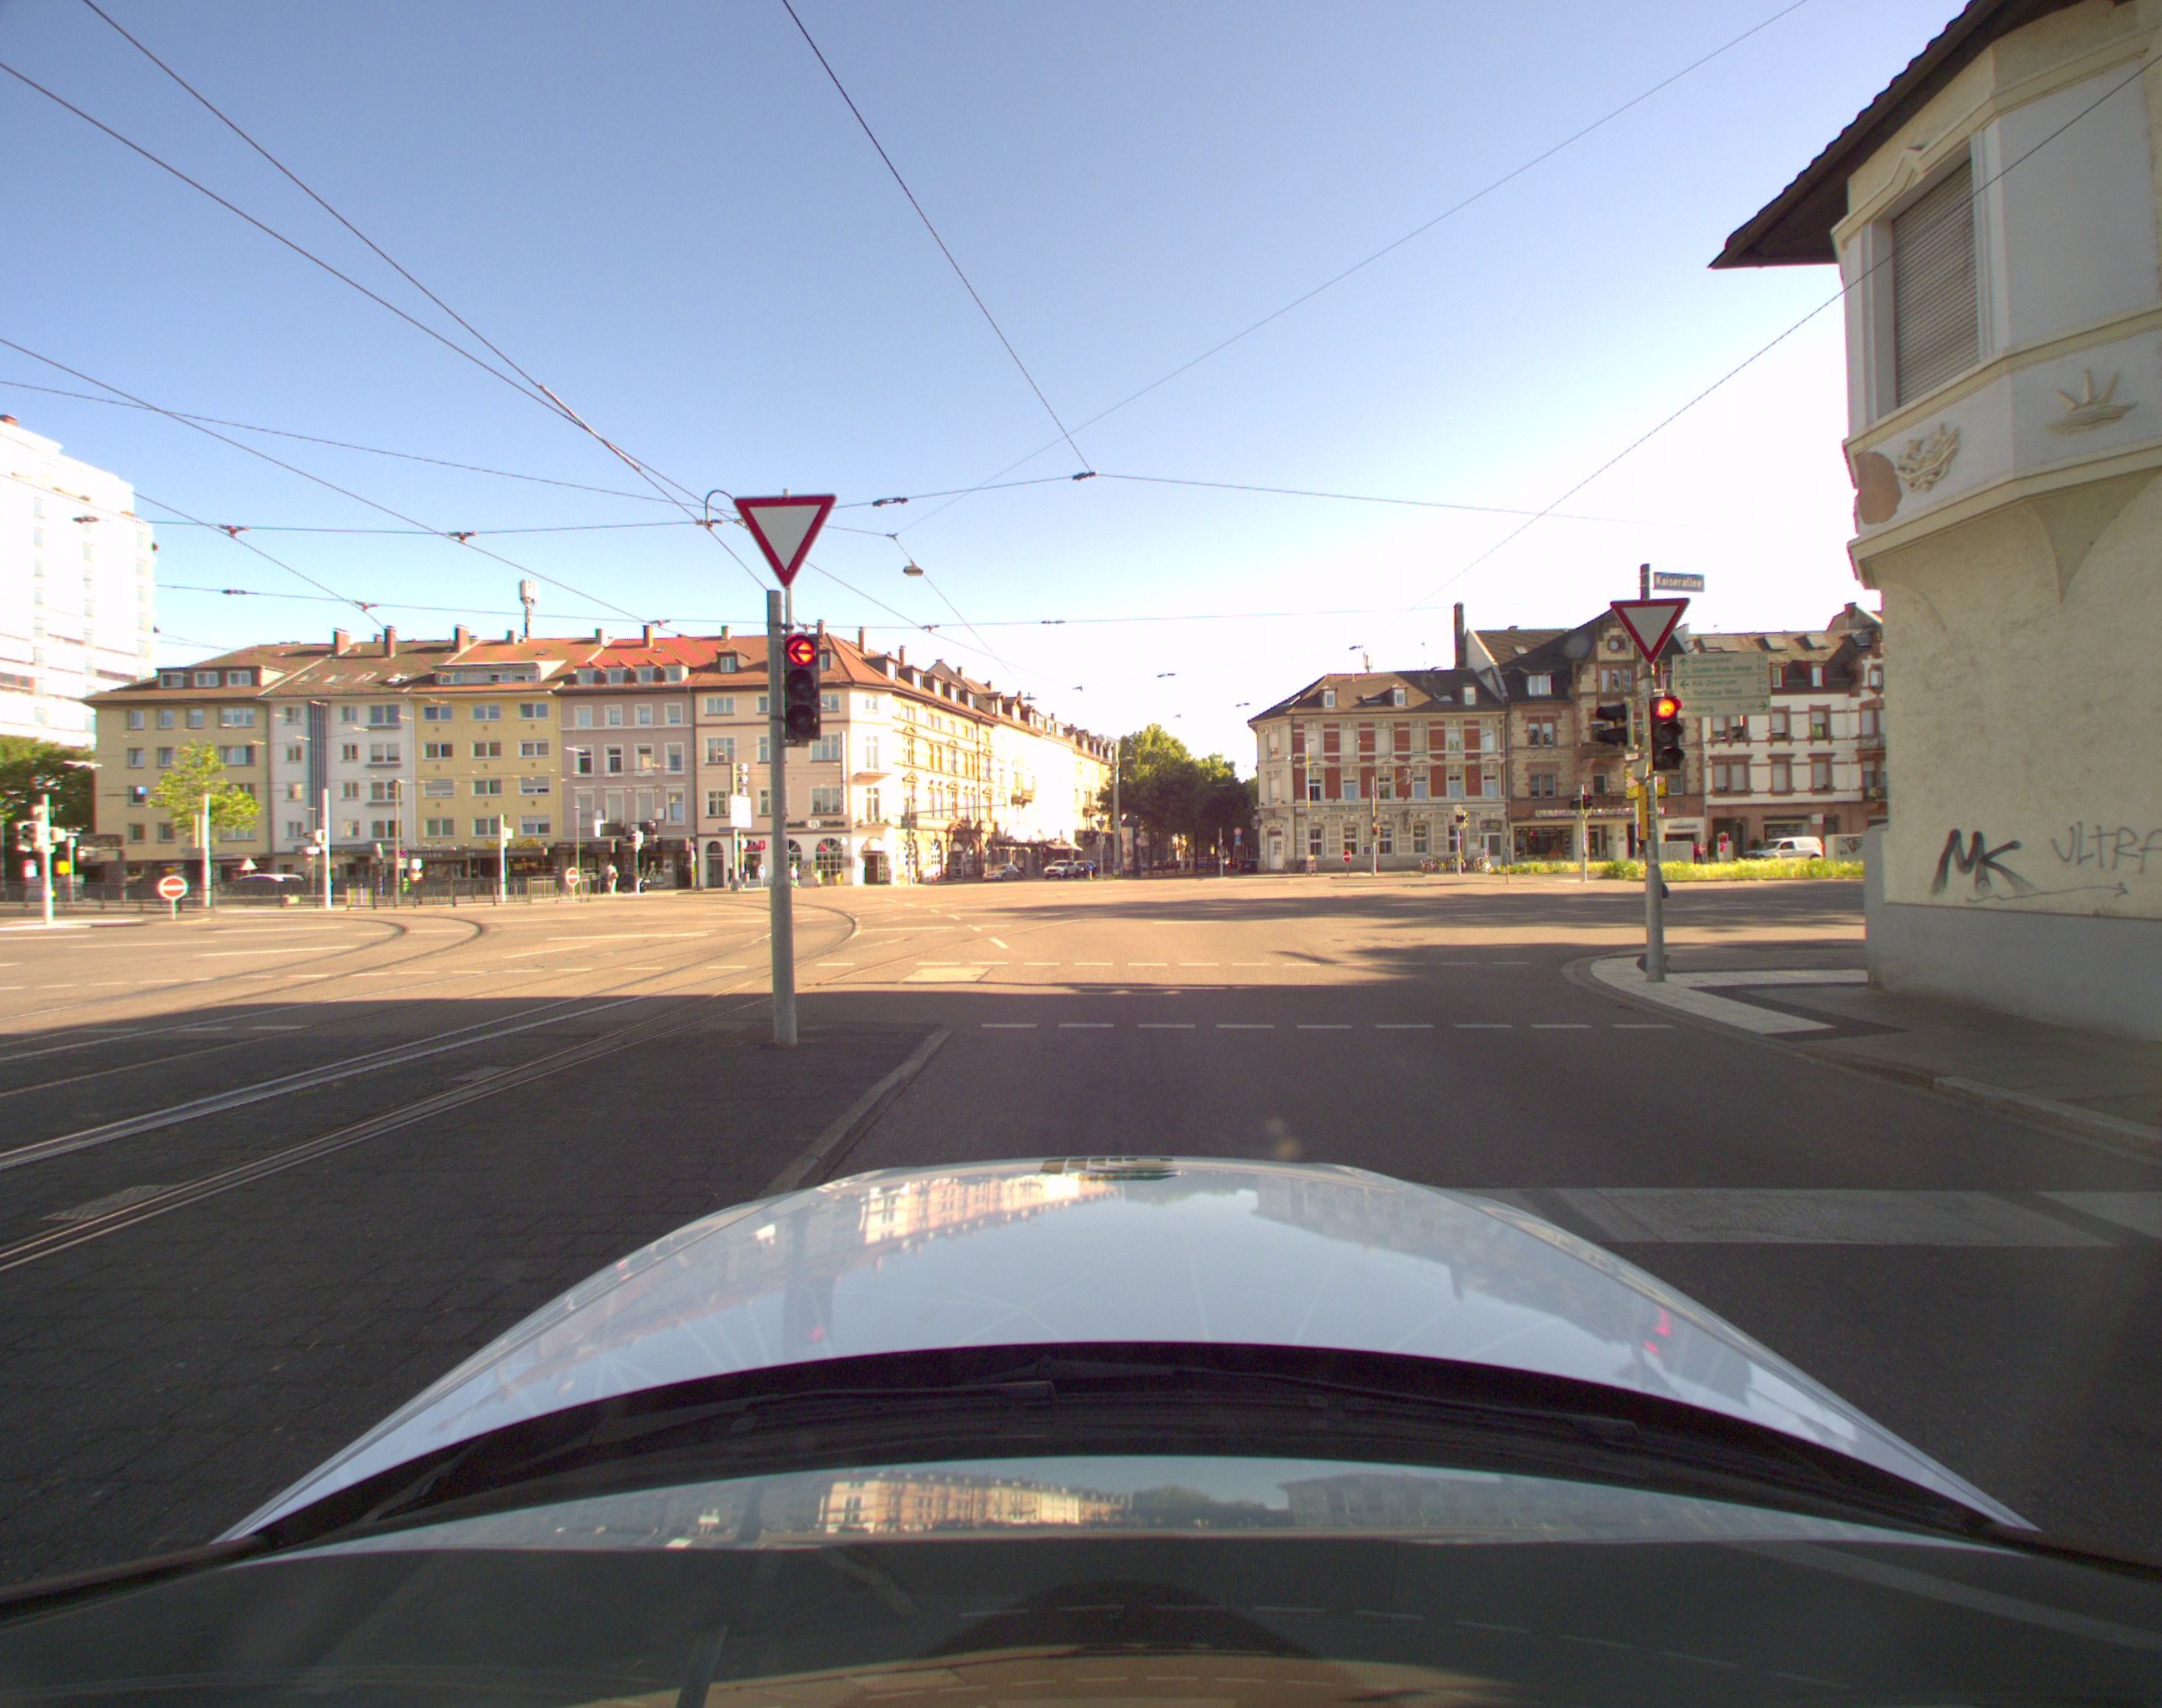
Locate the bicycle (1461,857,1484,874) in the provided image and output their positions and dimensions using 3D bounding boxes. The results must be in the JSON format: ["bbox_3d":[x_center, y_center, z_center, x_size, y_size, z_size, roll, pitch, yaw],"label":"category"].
[{"bbox_3d":[25.315,0.720,52.617,0.603,1.051,1.641,-1,0,-3],"label":"bicycle"}]

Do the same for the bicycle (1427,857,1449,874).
[{"bbox_3d":[23.150,0.738,52.868,0.603,1.051,1.641,-1,0,-3],"label":"bicycle"}]

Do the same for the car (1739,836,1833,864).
[{"bbox_3d":[45.385,-0.228,52.469,4.356,1.654,1.999,-1,0,-2],"label":"car"}]

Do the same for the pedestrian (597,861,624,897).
[{"bbox_3d":[-24.570,1.311,42.556,0.871,1.818,0.811,-1,0,2],"label":"pedestrian"}]

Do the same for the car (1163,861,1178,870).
[{"bbox_3d":[14.444,1.814,131.455,1.728,1.397,4.141,1,0,16],"label":"car"}]

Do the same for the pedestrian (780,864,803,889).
[{"bbox_3d":[-19.429,1.498,54.613,1.060,1.591,1.043,-1,0,4],"label":"pedestrian"}]

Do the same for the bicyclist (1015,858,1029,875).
[{"bbox_3d":[-4.765,0.988,65.870,0.787,1.375,1.113,-1,0,16],"label":"bicyclist"}]

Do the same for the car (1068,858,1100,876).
[{"bbox_3d":[0.292,1.153,73.691,1.979,1.513,4.015,-1,0,14],"label":"car"}]

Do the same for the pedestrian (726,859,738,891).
[{"bbox_3d":[-22.777,1.358,53.122,0.506,2.013,0.505,-1,0,5],"label":"pedestrian"}]

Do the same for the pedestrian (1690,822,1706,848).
[{"bbox_3d":[42.171,-1.277,55.639,0.705,1.751,0.421,-1,0,3],"label":"pedestrian"}]

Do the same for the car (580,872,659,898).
[{"bbox_3d":[-30.274,1.993,53.532,3.978,1.464,1.998,-2,0,-4],"label":"car"}]

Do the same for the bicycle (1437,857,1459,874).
[{"bbox_3d":[23.813,0.733,52.868,0.603,1.051,1.641,-1,0,-3],"label":"bicycle"}]

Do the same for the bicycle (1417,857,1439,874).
[{"bbox_3d":[22.496,0.742,52.837,0.603,1.051,1.641,-1,0,-3],"label":"bicycle"}]

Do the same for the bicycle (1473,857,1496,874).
[{"bbox_3d":[26.054,0.714,52.610,0.603,1.051,1.641,-1,0,-3],"label":"bicycle"}]

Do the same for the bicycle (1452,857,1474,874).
[{"bbox_3d":[24.640,0.724,52.568,0.603,1.051,1.641,-1,0,-3],"label":"bicycle"}]

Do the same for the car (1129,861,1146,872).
[{"bbox_3d":[7.605,1.653,110.001,1.729,1.397,4.137,1,0,12],"label":"car"}]

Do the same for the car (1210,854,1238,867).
[{"bbox_3d":[23.376,1.090,133.070,4.074,1.919,1.756,1,0,23],"label":"car"}]

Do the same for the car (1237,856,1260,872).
[{"bbox_3d":[16.907,0.994,82.050,1.637,1.524,3.772,-2,-1,20],"label":"car"}]

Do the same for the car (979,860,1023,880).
[{"bbox_3d":[-6.597,1.306,67.698,2.080,1.545,4.382,-1,0,16],"label":"car"}]

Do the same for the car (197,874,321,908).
[{"bbox_3d":[-46.185,2.053,45.838,4.835,1.660,1.999,-1,0,-2],"label":"car"}]

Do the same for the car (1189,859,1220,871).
[{"bbox_3d":[17.489,1.529,114.991,4.078,1.646,1.754,1,0,17],"label":"car"}]

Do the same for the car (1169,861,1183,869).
[{"bbox_3d":[15.868,1.838,136.202,1.728,1.397,4.141,1,0,16],"label":"car"}]

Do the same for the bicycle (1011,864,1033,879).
[{"bbox_3d":[-4.768,1.432,65.898,0.745,1.135,2.821,-1,0,16],"label":"bicycle"}]

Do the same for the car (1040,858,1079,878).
[{"bbox_3d":[-1.729,1.165,67.368,2.080,1.499,4.017,-1,0,16],"label":"car"}]

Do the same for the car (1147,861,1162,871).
[{"bbox_3d":[11.067,1.731,122.708,1.729,1.397,4.137,1,0,12],"label":"car"}]

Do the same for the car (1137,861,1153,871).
[{"bbox_3d":[9.179,1.689,115.771,1.729,1.397,4.137,1,0,12],"label":"car"}]

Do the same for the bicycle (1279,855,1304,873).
[{"bbox_3d":[14.696,0.693,56.938,1.625,1.222,0.609,-1,0,18],"label":"bicycle"}]
